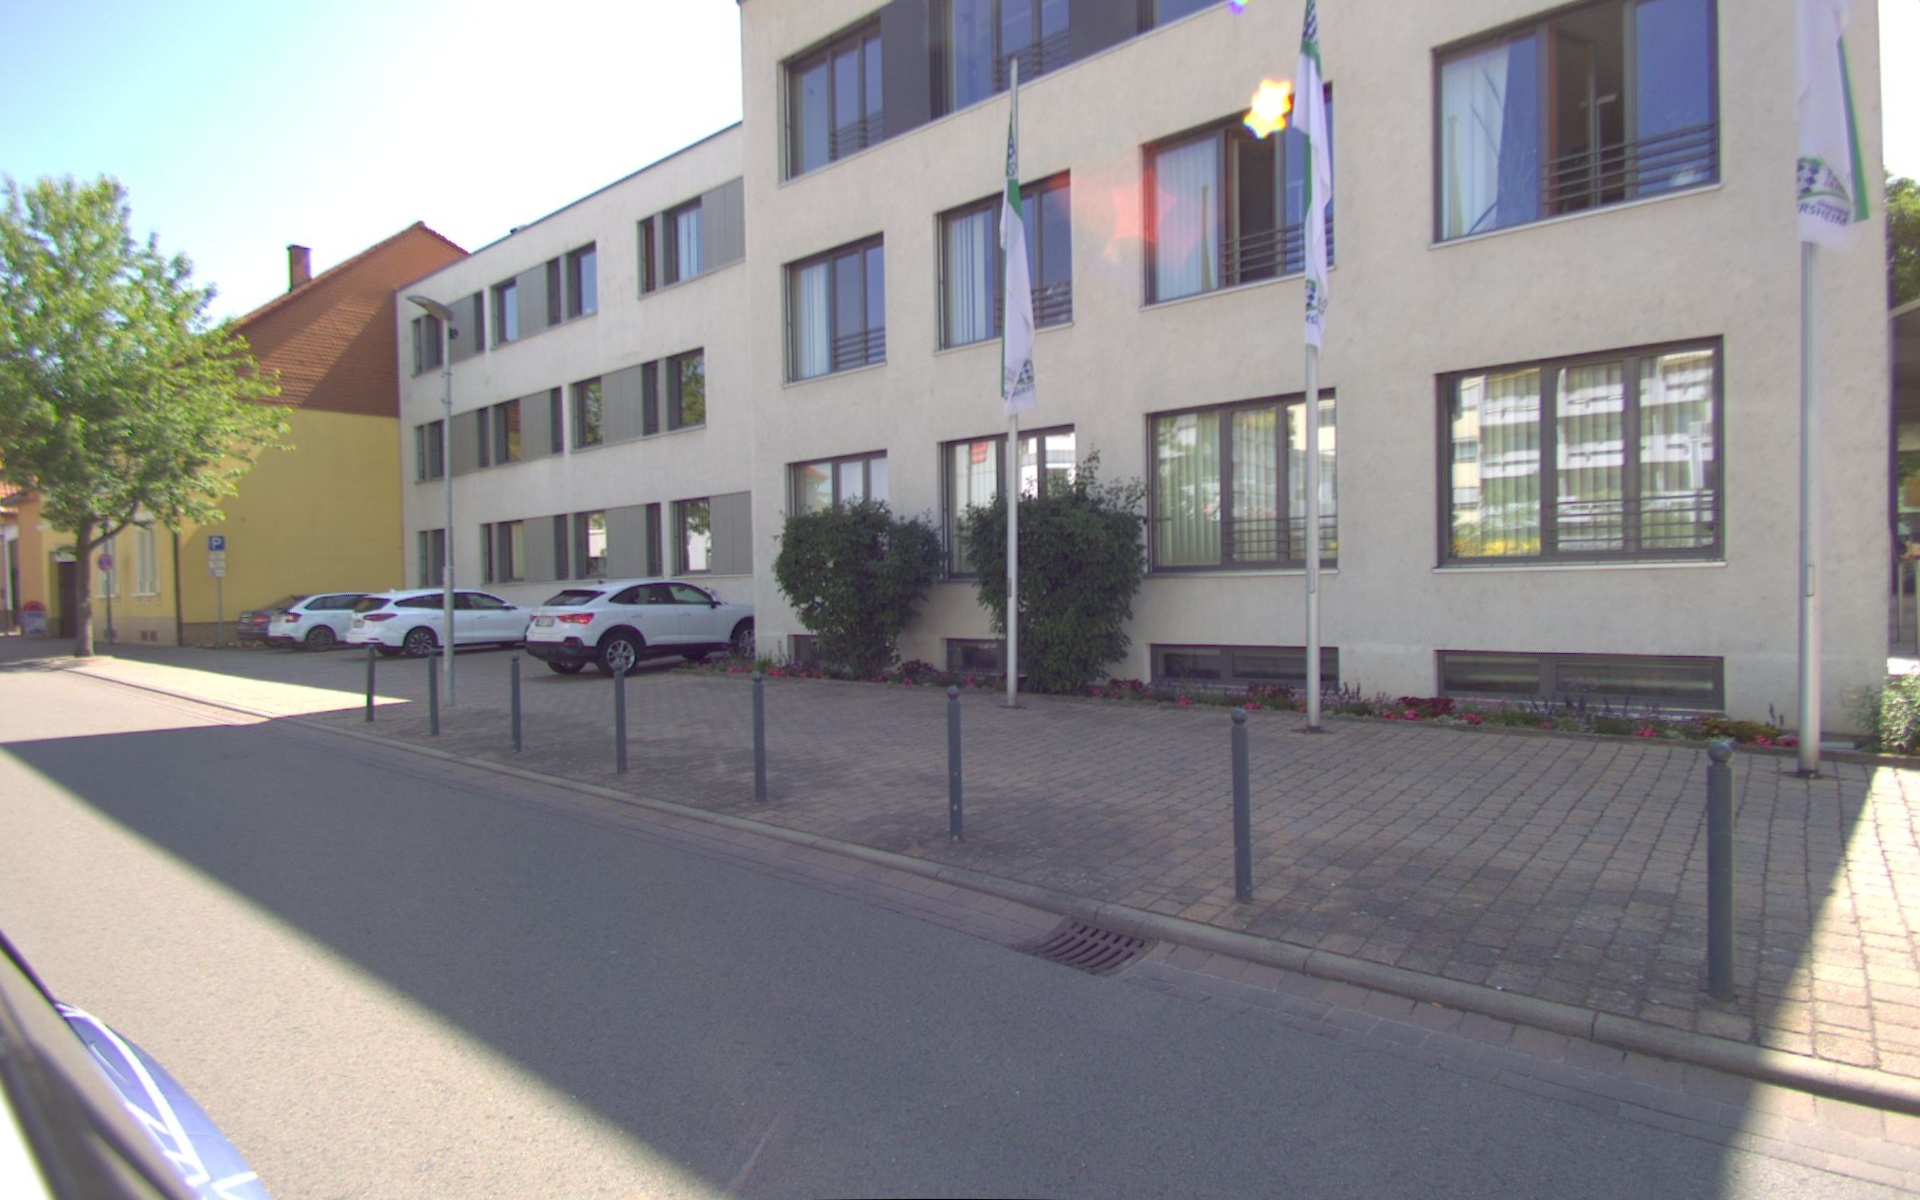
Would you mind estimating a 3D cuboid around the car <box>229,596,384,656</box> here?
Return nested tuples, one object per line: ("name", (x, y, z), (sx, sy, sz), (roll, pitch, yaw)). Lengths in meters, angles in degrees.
("car", (-17.620, 0.660, 27.371), (1.373, 1.412, 3.218), (-1, 2, 38))

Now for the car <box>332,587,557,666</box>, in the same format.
("car", (-11.604, 0.529, 23.037), (1.512, 1.490, 4.270), (0, 2, 40))

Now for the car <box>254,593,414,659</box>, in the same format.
("car", (-15.967, 0.624, 25.905), (1.642, 1.461, 3.099), (-1, 2, 41))

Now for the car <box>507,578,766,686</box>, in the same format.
("car", (-5.463, 0.467, 17.503), (1.747, 1.559, 3.949), (-1, 2, 38))
